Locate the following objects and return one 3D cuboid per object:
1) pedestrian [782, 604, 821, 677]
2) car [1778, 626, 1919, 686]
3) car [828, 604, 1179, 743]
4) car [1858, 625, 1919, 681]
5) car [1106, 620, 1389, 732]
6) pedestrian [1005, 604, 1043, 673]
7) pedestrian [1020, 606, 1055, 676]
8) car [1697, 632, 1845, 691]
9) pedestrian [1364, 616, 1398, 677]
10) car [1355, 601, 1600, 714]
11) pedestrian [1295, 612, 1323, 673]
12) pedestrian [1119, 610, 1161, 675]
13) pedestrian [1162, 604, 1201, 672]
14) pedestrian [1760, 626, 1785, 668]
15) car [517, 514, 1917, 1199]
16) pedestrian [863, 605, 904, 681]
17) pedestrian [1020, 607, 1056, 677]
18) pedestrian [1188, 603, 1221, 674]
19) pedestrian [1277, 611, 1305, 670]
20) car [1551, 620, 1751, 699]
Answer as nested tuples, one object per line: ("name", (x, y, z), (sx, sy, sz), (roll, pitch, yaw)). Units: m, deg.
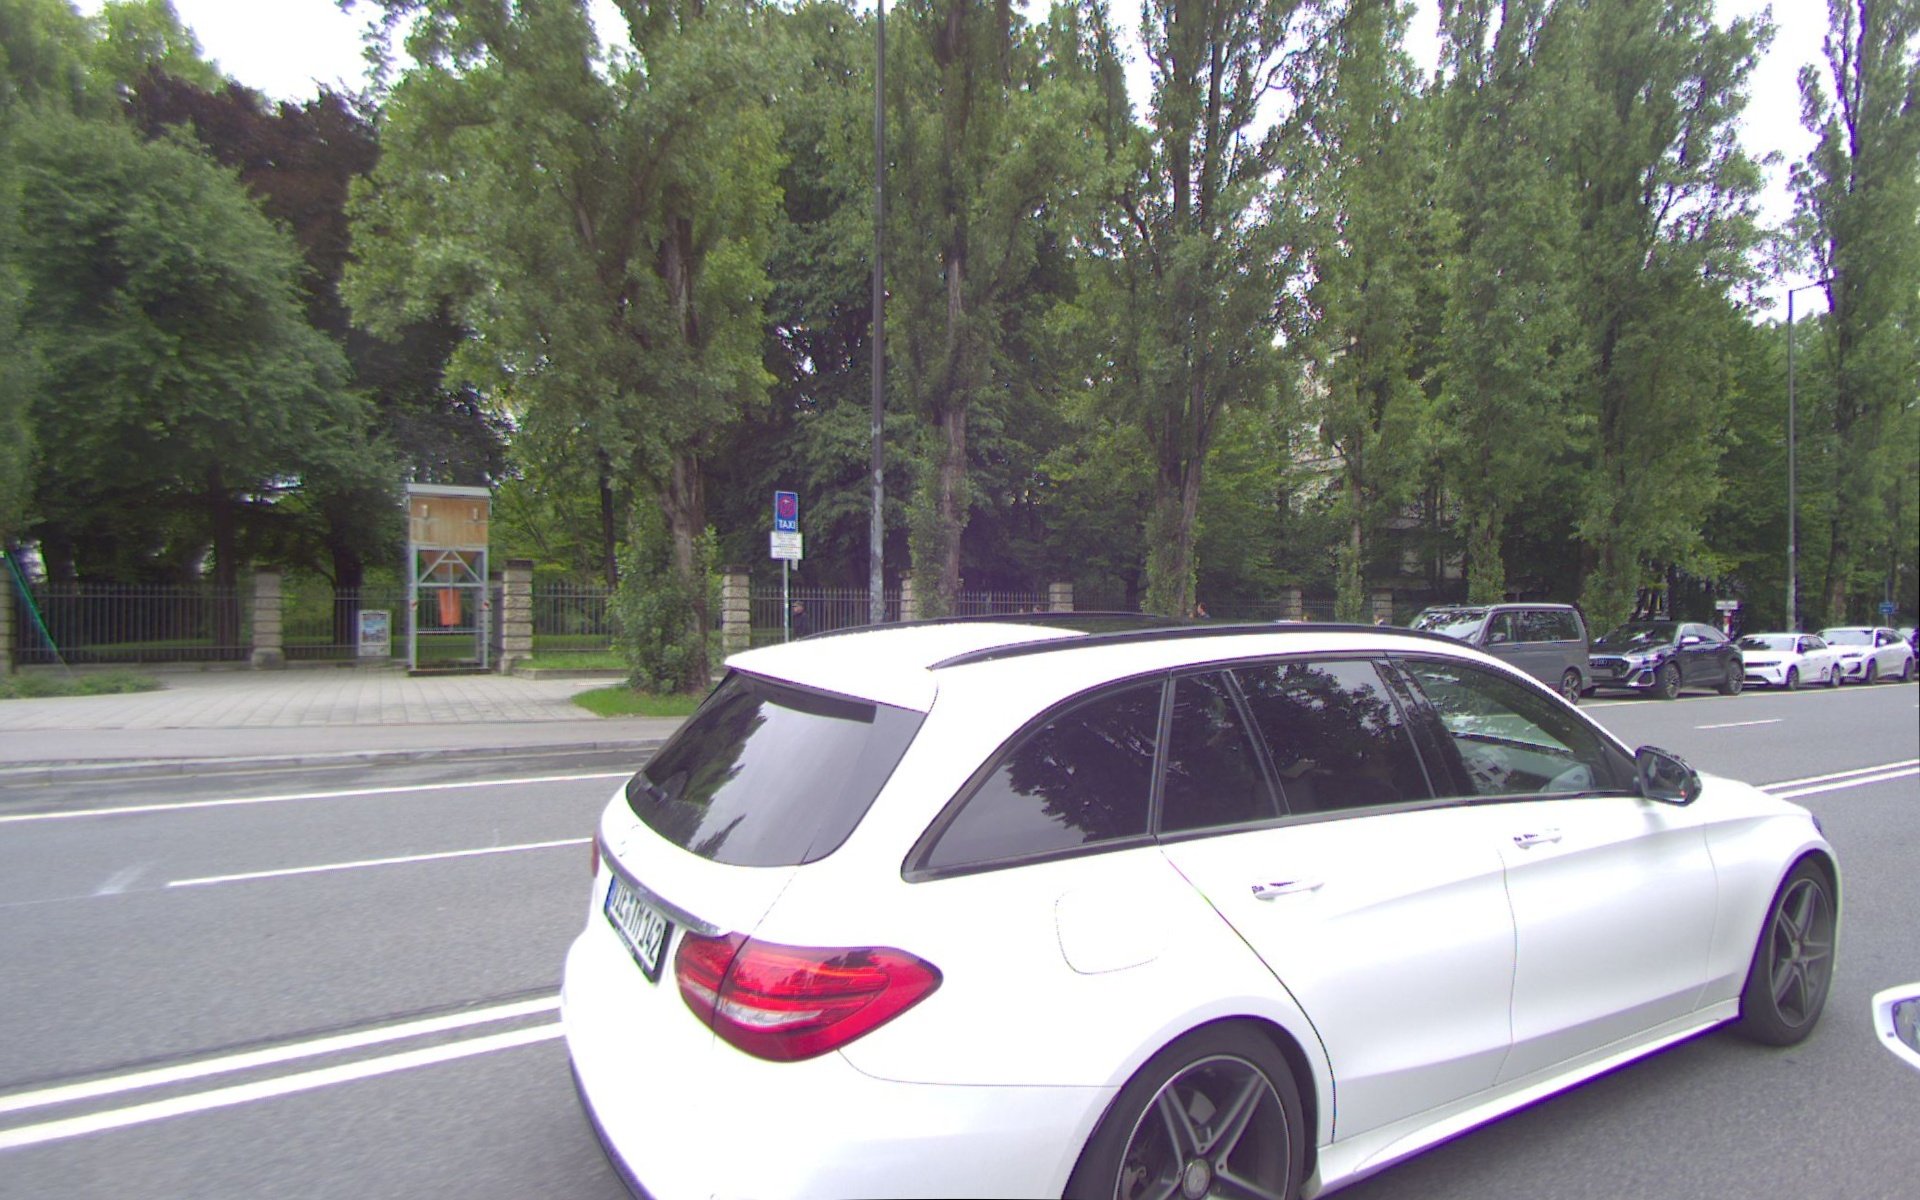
("pedestrian", (-3.593, 0.901, 22.729), (0.696, 1.617, 0.615), (1, 0, -29))
("car", (25.641, 1.586, 28.933), (4.408, 1.609, 1.777), (1, -3, -30))
("car", (0.658, 0.927, 13.622), (4.561, 1.617, 1.773), (1, -3, -31))
("car", (30.546, 1.645, 31.834), (4.666, 1.680, 1.870), (1, -3, -32))
("car", (4.772, 1.161, 16.493), (4.601, 1.605, 1.881), (1, -2, -31))
("pedestrian", (1.651, 0.993, 25.861), (0.724, 1.745, 0.664), (1, -1, -29))
("pedestrian", (1.952, 1.021, 25.324), (0.714, 1.730, 0.506), (1, 0, -30))
("car", (21.180, 1.577, 26.199), (4.189, 1.441, 1.668), (2, -3, -31))
("pedestrian", (12.576, 1.375, 30.019), (0.748, 1.780, 0.605), (1, -1, -32))
("car", (10.170, 1.077, 19.643), (4.880, 1.982, 1.984), (1, -3, -31))
("pedestrian", (10.070, 1.217, 29.005), (0.563, 1.730, 0.506), (1, 0, -30))
("pedestrian", (4.636, 1.080, 25.881), (0.782, 1.639, 0.706), (1, 0, -31))
("pedestrian", (6.229, 1.045, 28.213), (0.748, 1.879, 0.743), (1, 0, -30))
("pedestrian", (36.069, 2.064, 44.589), (0.766, 1.839, 0.637), (1, -1, -31))
("car", (1.105, 0.664, 3.325), (4.529, 1.474, 1.817), (1, 0, -31))
("pedestrian", (-1.714, 0.949, 22.482), (0.696, 1.682, 0.615), (1, 0, -30))
("pedestrian", (1.913, 1.018, 24.621), (0.665, 1.691, 0.546), (1, 0, -30))
("pedestrian", (6.664, 1.041, 27.373), (0.714, 1.884, 0.506), (1, 0, -30))
("pedestrian", (9.731, 1.188, 29.540), (0.563, 1.730, 0.506), (1, 0, -30))
("car", (15.645, 1.322, 22.667), (4.995, 1.629, 1.806), (1, -3, -31))
